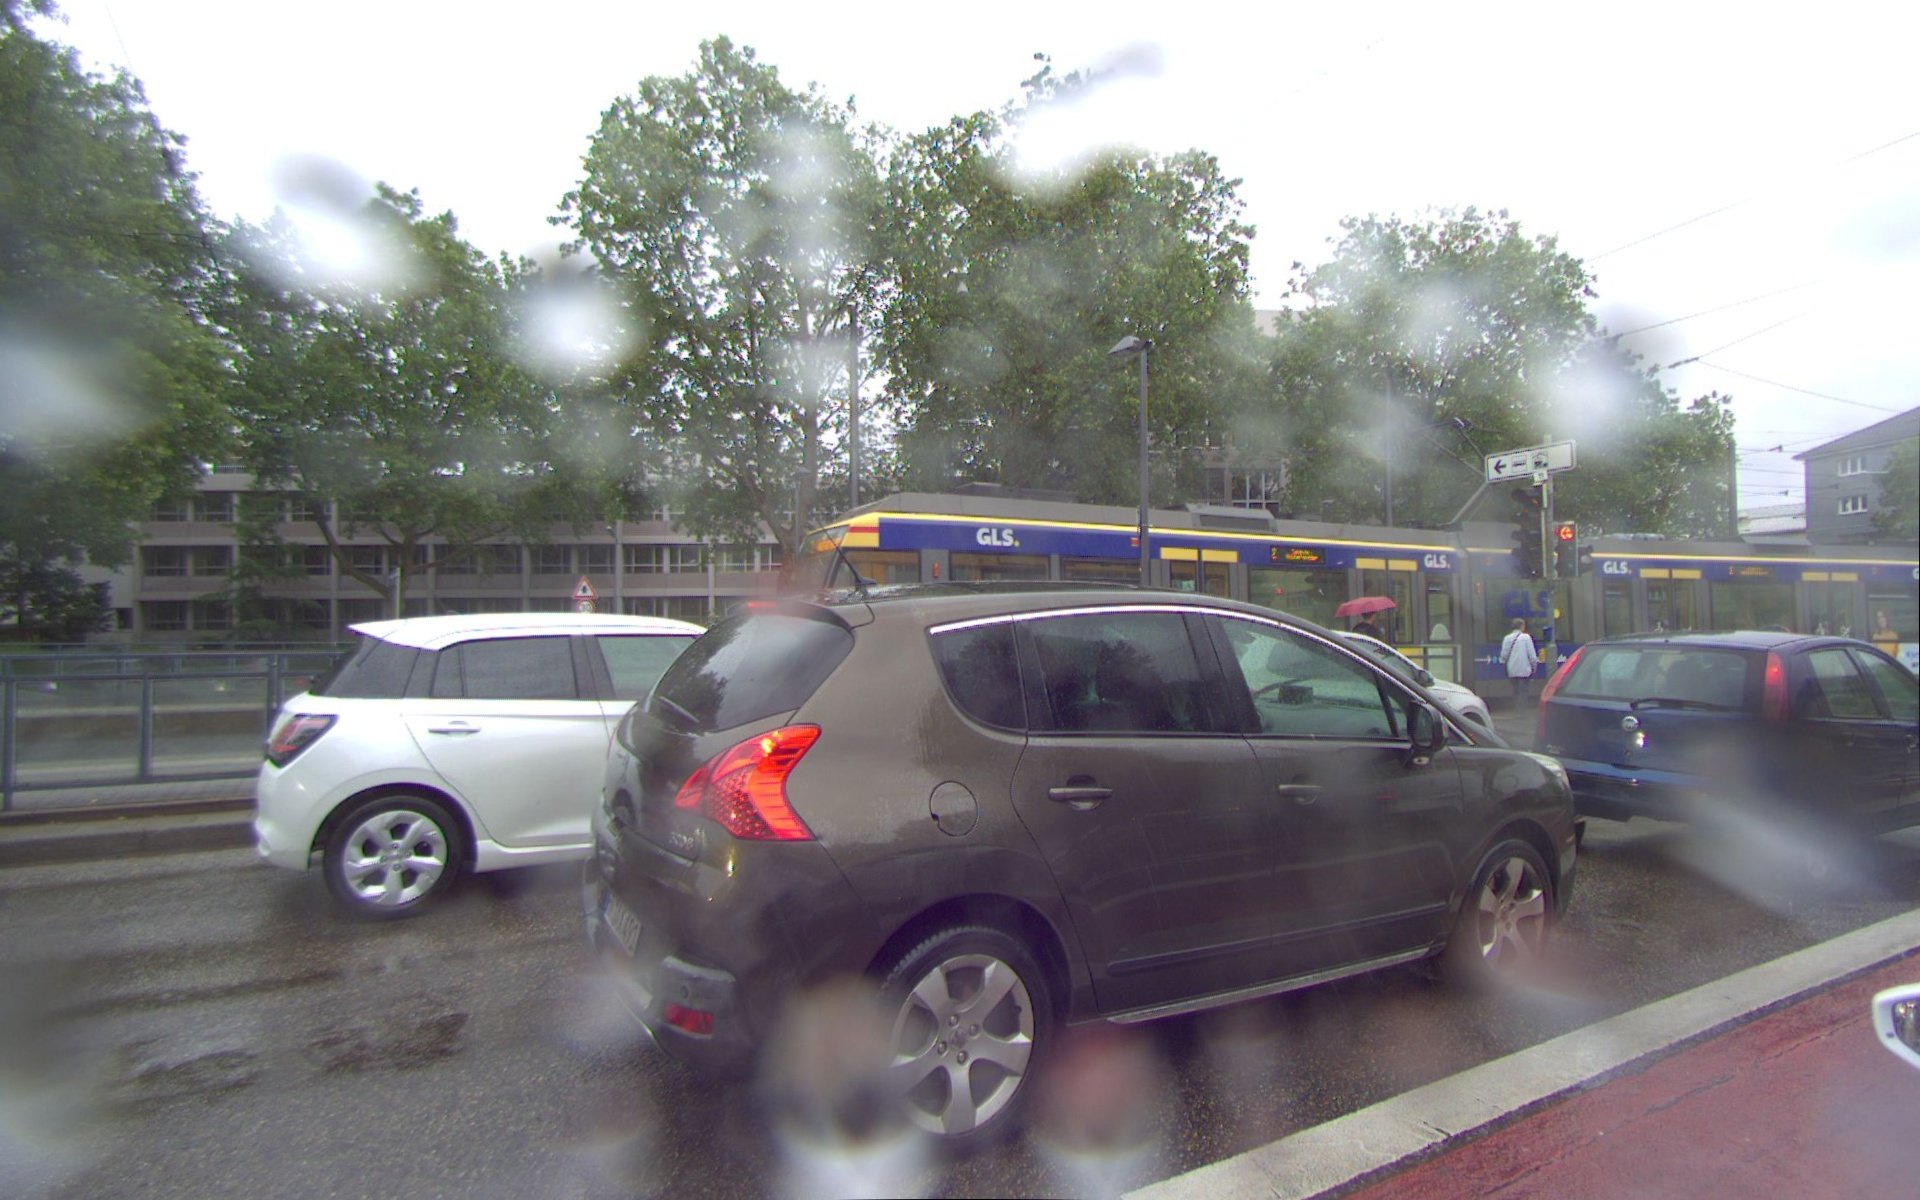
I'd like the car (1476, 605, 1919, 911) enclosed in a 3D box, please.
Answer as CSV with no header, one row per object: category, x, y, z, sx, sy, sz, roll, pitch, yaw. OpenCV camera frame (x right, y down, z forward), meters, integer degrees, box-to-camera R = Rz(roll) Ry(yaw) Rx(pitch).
car,5.539,0.876,6.988,3.776,1.599,1.719,1,-1,-30

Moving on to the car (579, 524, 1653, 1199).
car,0.775,0.721,4.112,4.124,1.690,1.825,1,-1,-30

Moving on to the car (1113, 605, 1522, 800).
car,3.430,0.848,9.487,3.737,1.514,1.621,1,-1,-30

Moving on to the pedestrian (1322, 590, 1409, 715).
pedestrian,5.968,0.767,14.796,0.888,1.769,0.762,0,-3,-30

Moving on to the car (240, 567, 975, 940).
car,-1.948,0.737,6.139,3.791,1.650,1.637,1,-2,-30

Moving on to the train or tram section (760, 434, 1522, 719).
train or tram section,3.669,-0.160,17.217,13.484,3.559,3.500,1,0,-27

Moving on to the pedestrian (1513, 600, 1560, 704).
pedestrian,9.260,0.821,16.162,0.616,1.628,0.741,1,0,29

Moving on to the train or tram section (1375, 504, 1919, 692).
train or tram section,16.977,0.133,22.315,15.244,3.458,3.541,2,0,-15
